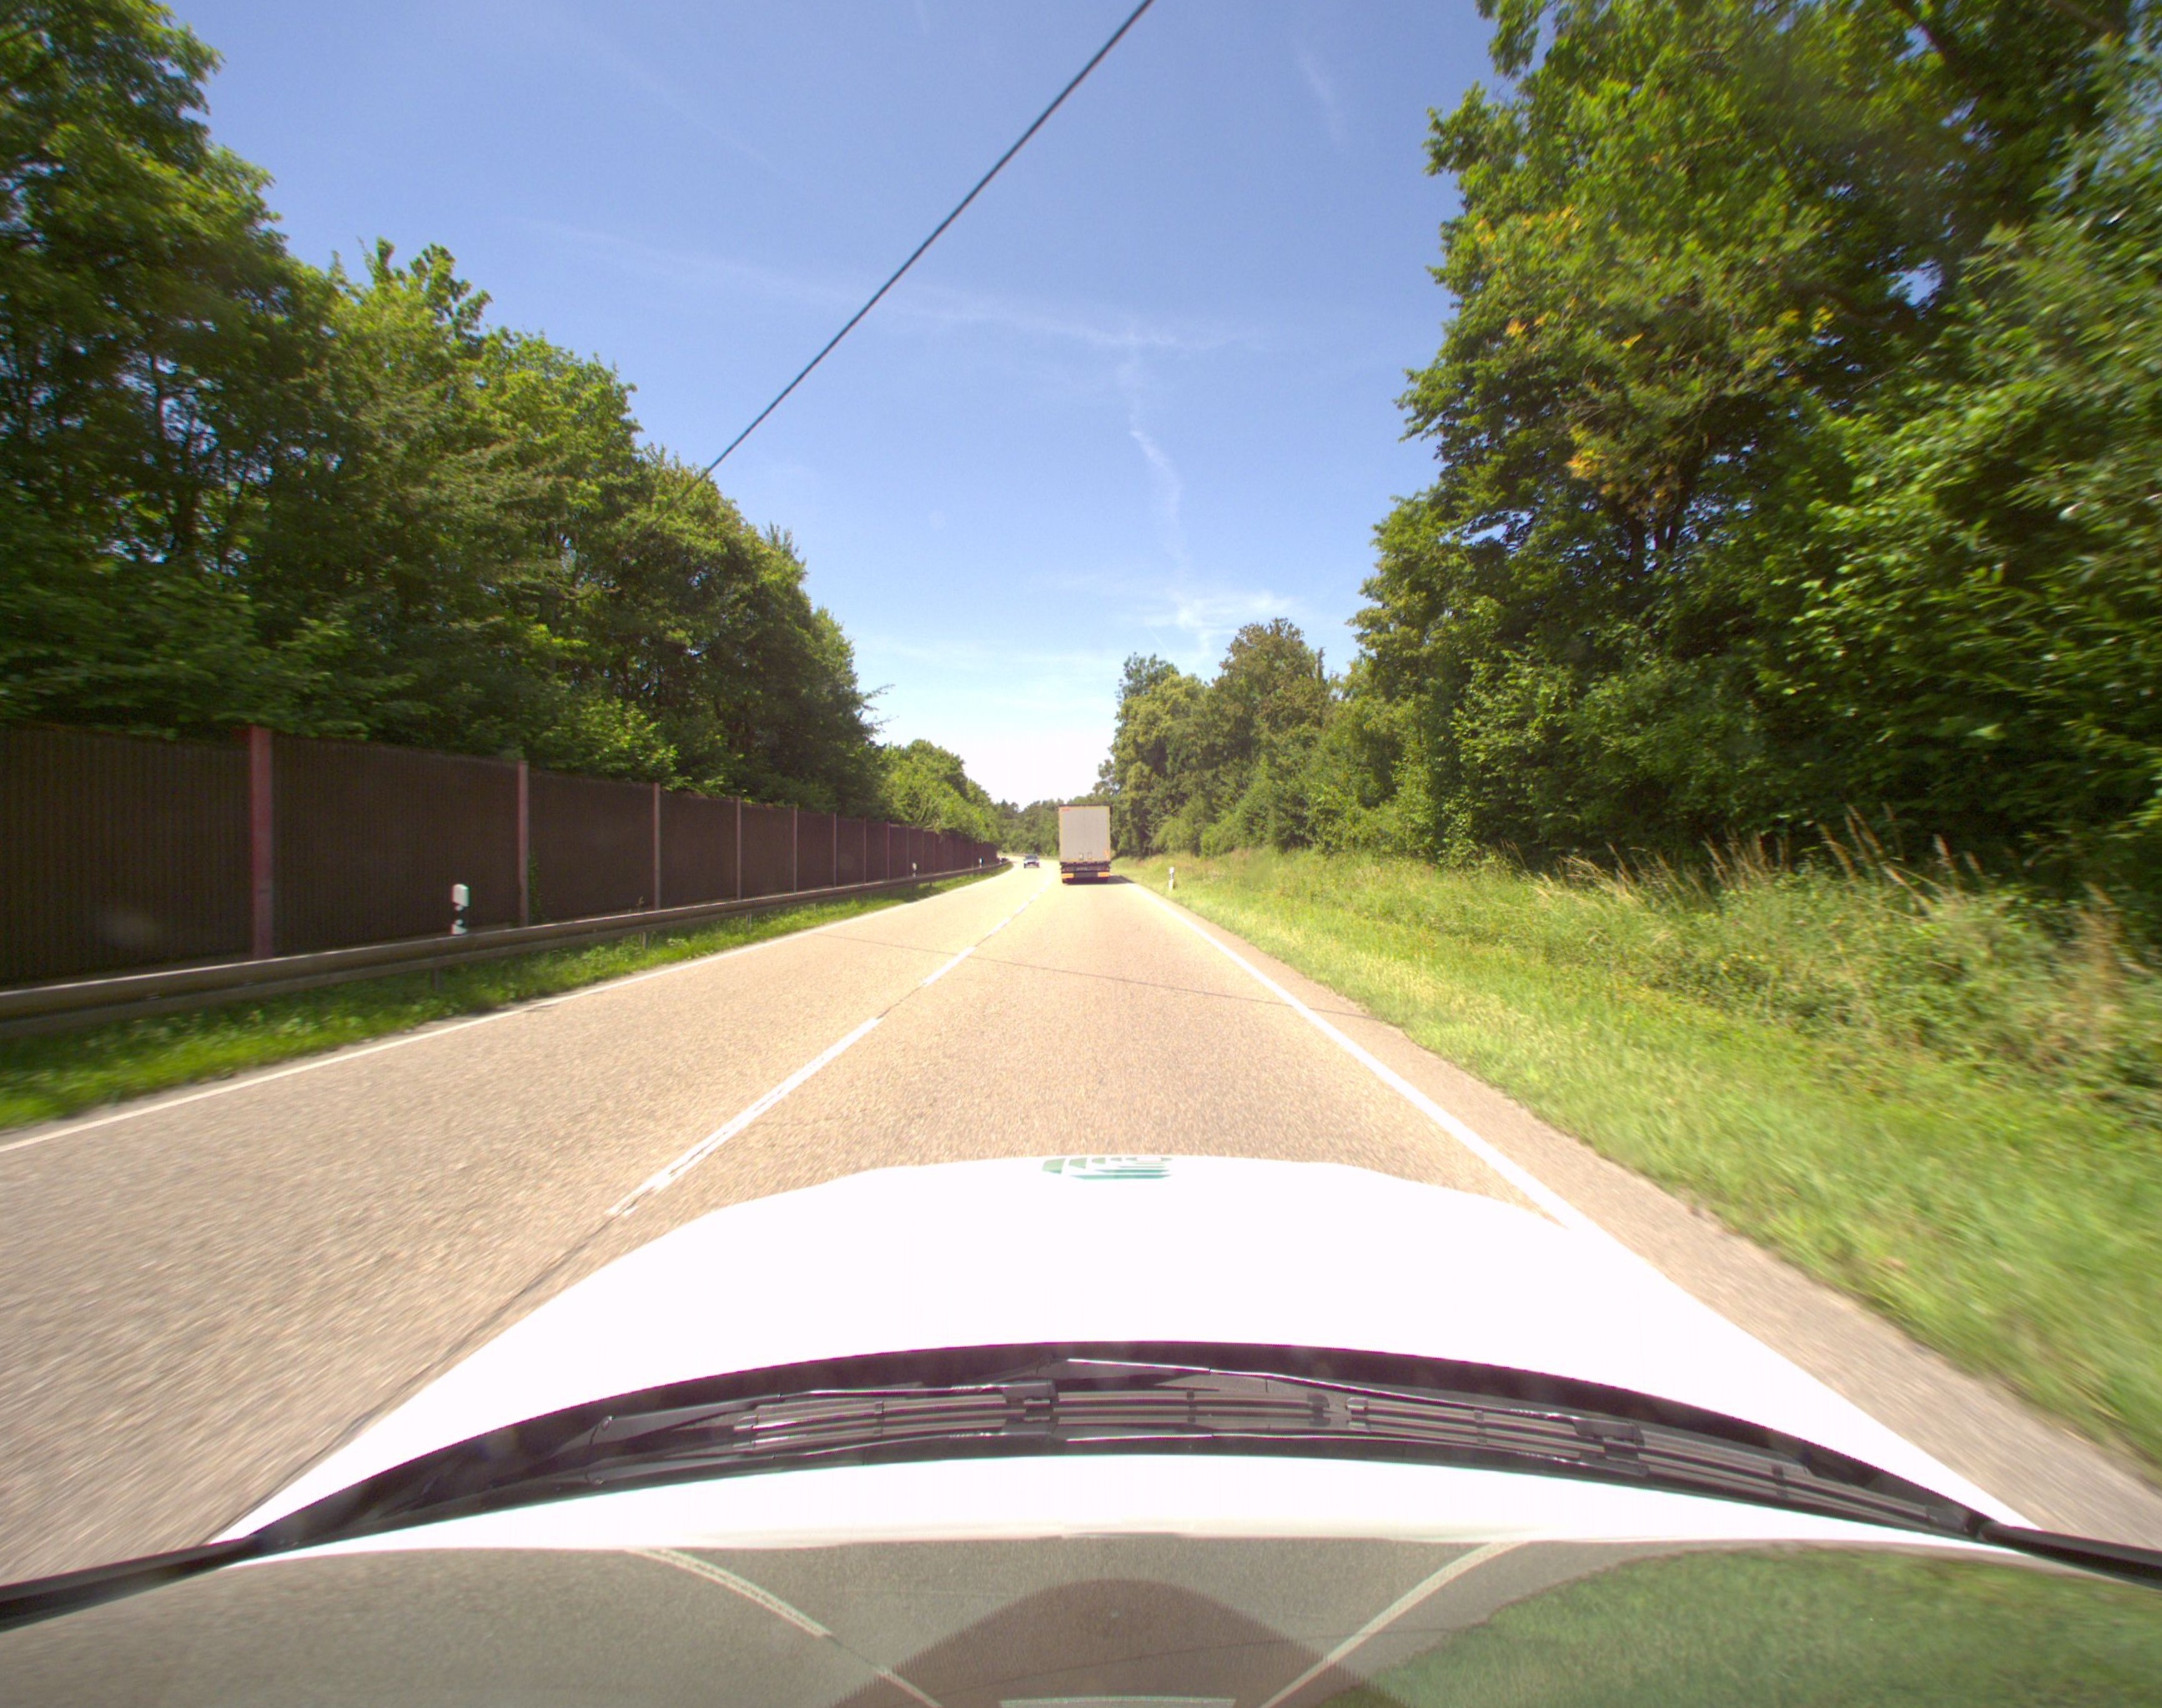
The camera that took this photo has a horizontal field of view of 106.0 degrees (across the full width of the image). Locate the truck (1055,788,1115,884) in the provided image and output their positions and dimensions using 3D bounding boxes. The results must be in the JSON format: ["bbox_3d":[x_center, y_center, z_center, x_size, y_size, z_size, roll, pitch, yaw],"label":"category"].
[{"bbox_3d":[0.311,-0.830,43.140,2.811,4.604,6.669,-1,-1,3],"label":"truck"}]

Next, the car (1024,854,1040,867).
[{"bbox_3d":[-5.783,0.722,95.989,1.615,1.491,3.608,-1,0,-6],"label":"car"}]
